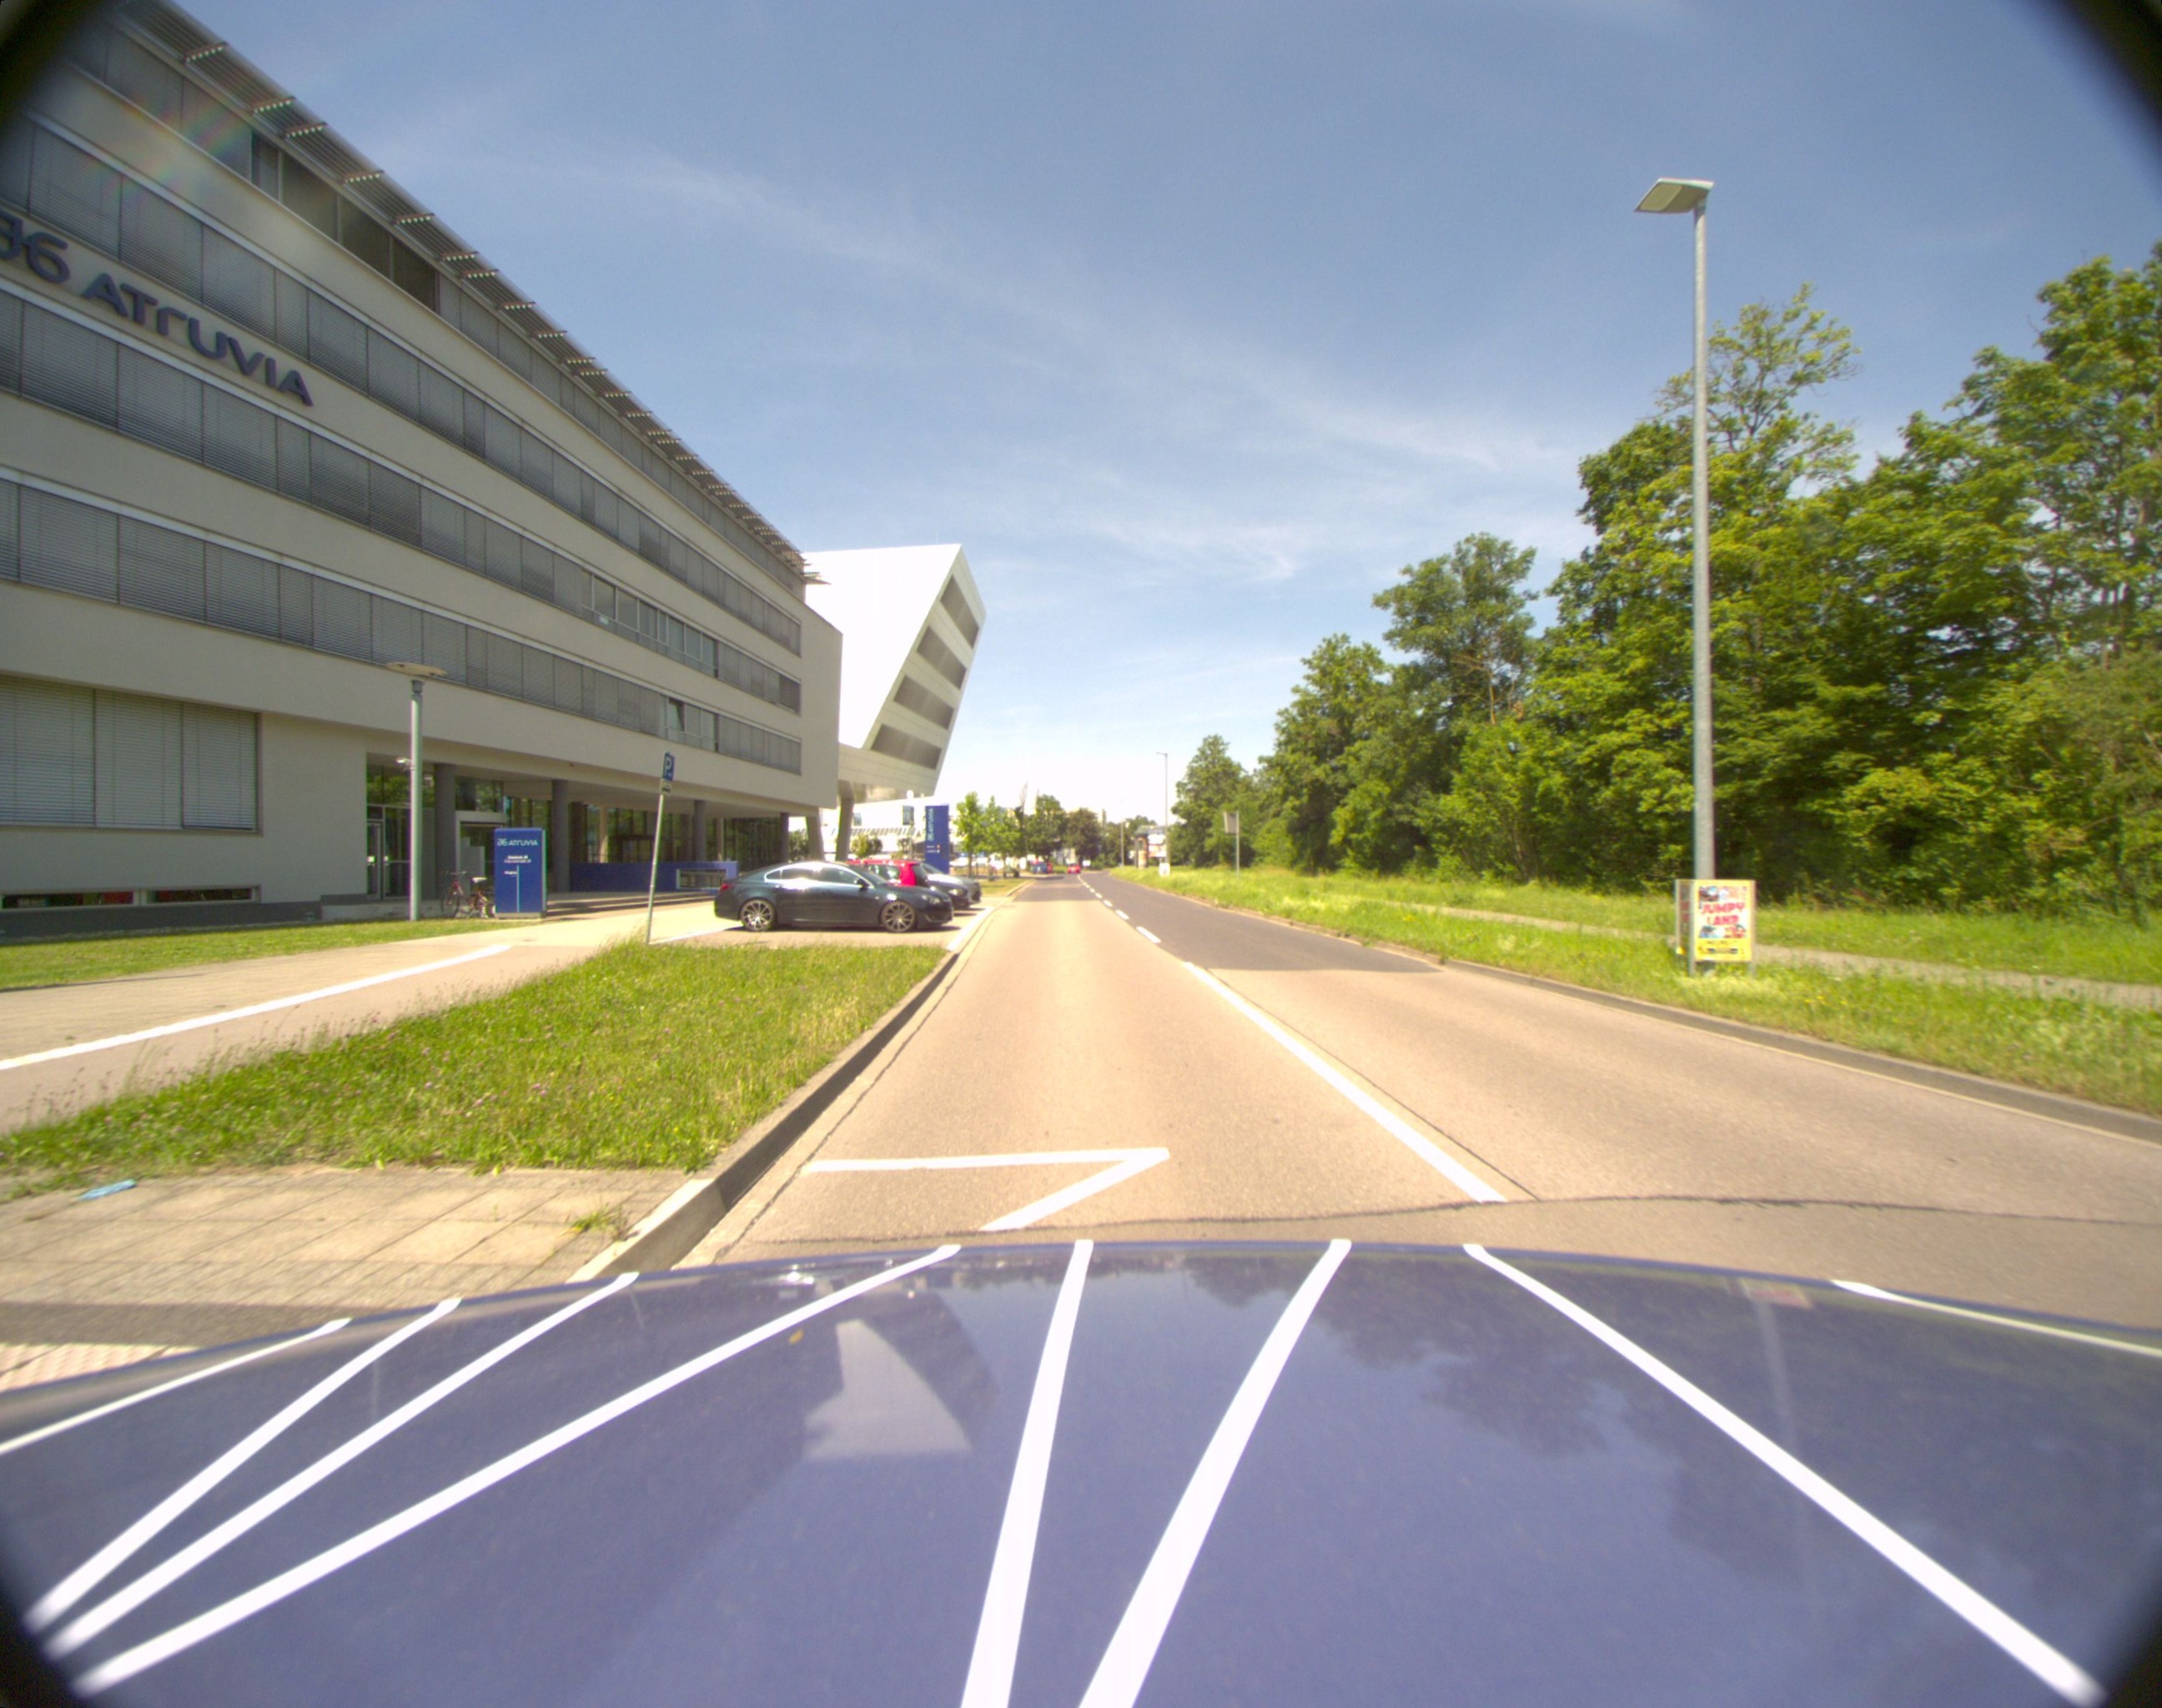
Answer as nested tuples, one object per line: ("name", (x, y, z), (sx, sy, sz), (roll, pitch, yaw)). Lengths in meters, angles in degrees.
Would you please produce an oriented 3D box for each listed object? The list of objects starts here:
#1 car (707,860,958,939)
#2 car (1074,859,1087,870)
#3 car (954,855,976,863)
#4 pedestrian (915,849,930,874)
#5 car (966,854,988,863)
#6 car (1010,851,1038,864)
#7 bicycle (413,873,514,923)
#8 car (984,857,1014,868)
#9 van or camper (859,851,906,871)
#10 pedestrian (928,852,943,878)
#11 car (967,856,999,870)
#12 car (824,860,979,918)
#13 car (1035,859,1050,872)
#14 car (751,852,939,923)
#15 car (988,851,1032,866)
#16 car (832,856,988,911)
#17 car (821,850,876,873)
("car", (-4.970, 0.900, 15.713), (4.580, 1.423, 1.827), (1, 0, -3))
("car", (-0.088, 1.438, 106.984), (1.712, 1.368, 3.675), (-2, 0, 1))
("car", (-22.231, 0.943, 145.641), (3.917, 1.533, 1.704), (-2, 0, 5))
("pedestrian", (-10.506, 0.490, 50.321), (0.844, 1.650, 0.775), (-2, 1, -3))
("car", (-21.520, 0.950, 157.156), (4.321, 1.647, 1.704), (-2, 0, 5))
("car", (-9.140, 0.608, 122.497), (4.204, 1.964, 1.704), (-2, 1, 5))
("bicycle", (-14.018, 0.993, 17.262), (1.881, 1.054, 0.534), (-2, 1, 3))
("car", (-11.808, 1.238, 109.454), (3.996, 1.385, 1.653), (-2, 0, 2))
("van or camper", (-25.929, 0.883, 99.279), (5.700, 2.376, 1.704), (-2, 1, 5))
("pedestrian", (-9.646, 0.738, 50.354), (0.844, 1.691, 0.775), (-2, 1, -3))
("car", (-12.859, 1.198, 99.719), (3.822, 1.664, 1.741), (-2, 0, 2))
("car", (-4.799, 0.916, 20.673), (3.817, 1.477, 1.655), (0, 0, 1))
("car", (-4.944, 1.454, 97.970), (1.802, 1.490, 3.999), (-2, 0, -2))
("car", (-5.638, 0.776, 18.512), (3.997, 1.645, 1.839), (0, 0, 1))
("car", (-10.892, 0.682, 116.716), (6.492, 2.137, 2.165), (-2, 0, 5))
("car", (-5.103, 0.865, 23.086), (4.332, 1.554, 1.786), (1, 0, 0))
("car", (-26.476, 0.820, 86.460), (5.581, 2.445, 2.001), (-2, 1, 5))
